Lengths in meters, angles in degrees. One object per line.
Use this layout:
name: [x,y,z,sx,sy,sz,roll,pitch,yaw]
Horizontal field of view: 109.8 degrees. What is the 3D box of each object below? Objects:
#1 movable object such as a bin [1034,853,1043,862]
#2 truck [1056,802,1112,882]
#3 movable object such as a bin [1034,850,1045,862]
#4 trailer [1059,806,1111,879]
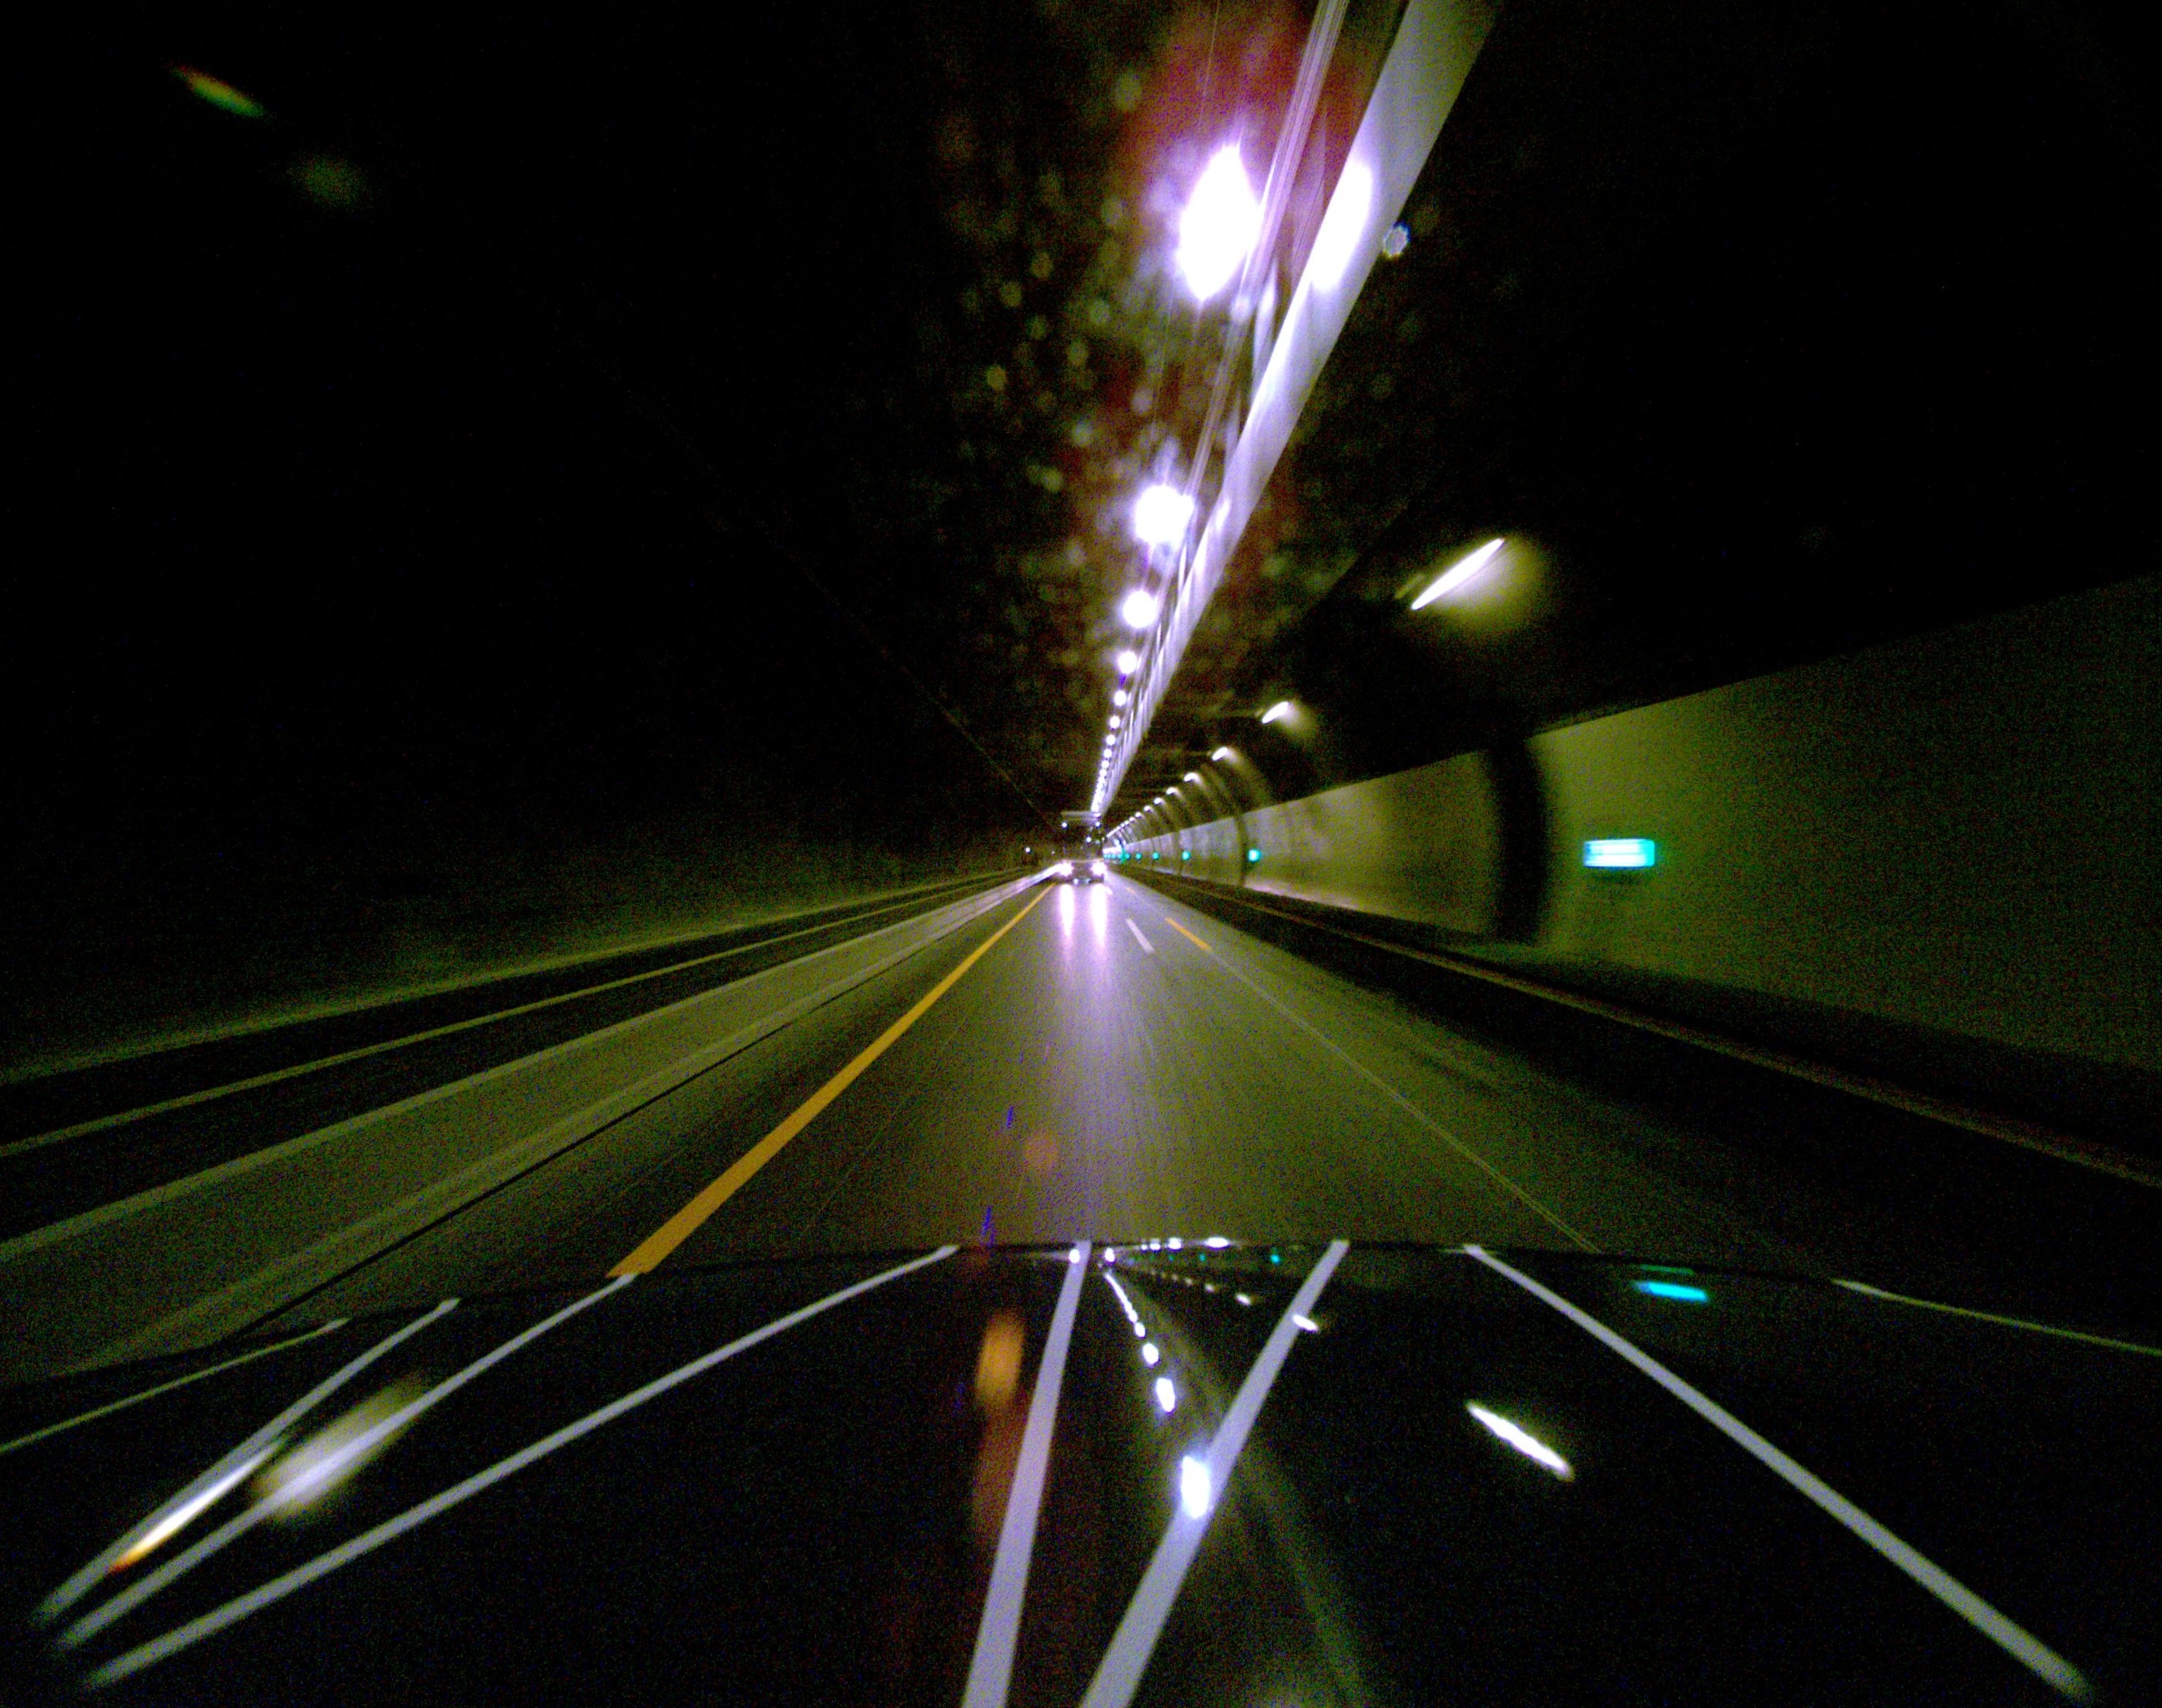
movable object such as a bin: [-7.930,0.628,142.666,1.560,1.699,3.054,-2,1,0]
truck: [0.217,-0.692,45.624,2.951,4.338,6.674,-2,1,0]
movable object such as a bin: [-7.441,0.341,136.450,1.688,2.133,4.627,-2,1,0]
trailer: [0.265,-0.744,50.944,2.940,4.316,10.051,-2,1,0]
